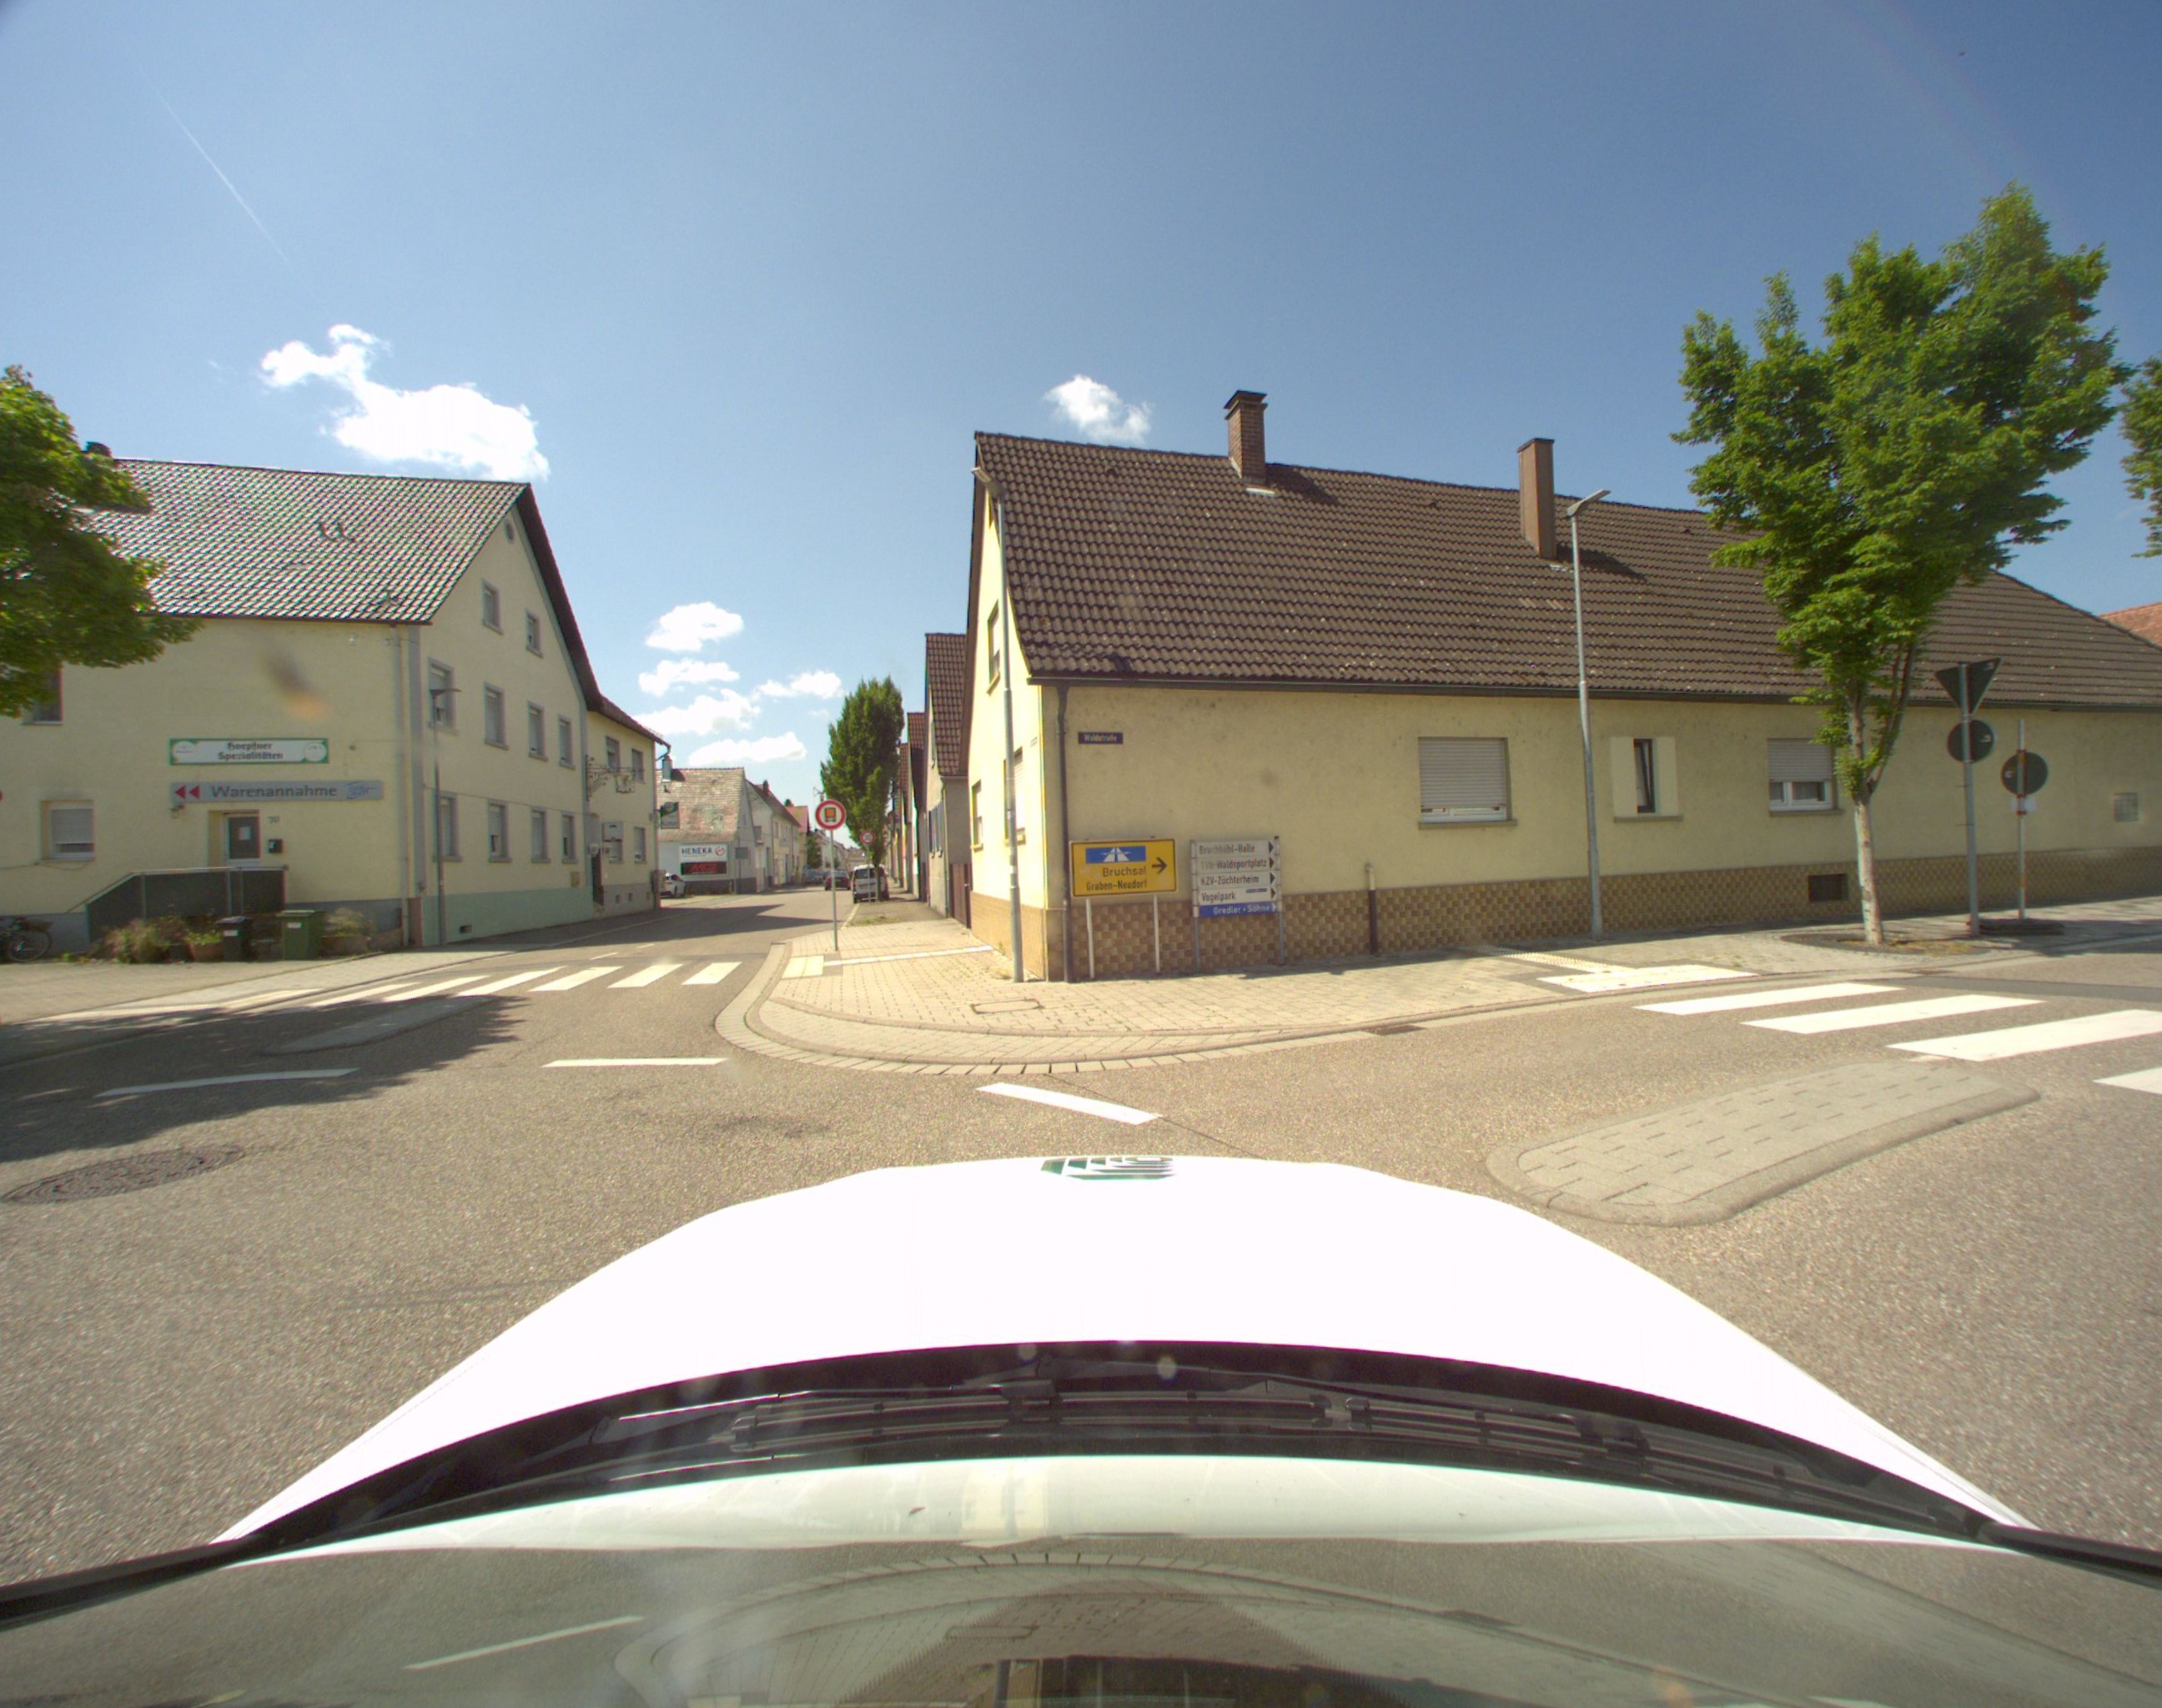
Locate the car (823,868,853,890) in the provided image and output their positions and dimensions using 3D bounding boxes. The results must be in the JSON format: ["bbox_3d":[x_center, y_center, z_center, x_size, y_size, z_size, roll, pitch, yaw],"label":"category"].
[{"bbox_3d":[-18.647,1.908,62.605,1.904,1.564,4.456,-1,0,-13],"label":"car"}]

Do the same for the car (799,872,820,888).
[{"bbox_3d":[-29.236,2.801,87.794,1.812,1.589,3.979,-1,-1,-15],"label":"car"}]

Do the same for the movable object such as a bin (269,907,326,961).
[{"bbox_3d":[-16.996,1.722,17.676,0.600,1.079,0.655,-2,-1,-12],"label":"movable object such as a bin"}]

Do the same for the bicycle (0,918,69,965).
[{"bbox_3d":[-23.238,1.910,17.407,2.169,0.913,0.540,-3,0,-10],"label":"bicycle"}]

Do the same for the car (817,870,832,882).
[{"bbox_3d":[-35.213,3.051,111.962,1.812,1.589,3.979,-1,-1,-15],"label":"car"}]

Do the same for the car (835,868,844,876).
[{"bbox_3d":[-53.240,4.016,179.563,1.812,1.589,3.980,-1,-1,-15],"label":"car"}]

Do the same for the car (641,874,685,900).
[{"bbox_3d":[-27.031,2.076,52.736,1.723,1.556,4.176,0,-1,-16],"label":"car"}]

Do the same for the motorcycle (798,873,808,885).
[{"bbox_3d":[-28.644,2.565,83.954,0.848,1.170,2.456,0,-1,-15],"label":"motorcycle"}]

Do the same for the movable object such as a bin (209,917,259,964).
[{"bbox_3d":[-17.990,1.832,17.305,0.479,0.928,0.545,-2,-1,-12],"label":"movable object such as a bin"}]

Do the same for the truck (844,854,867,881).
[{"bbox_3d":[-36.057,2.183,130.696,3.148,4.251,9.259,0,-1,-13],"label":"truck"}]

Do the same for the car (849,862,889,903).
[{"bbox_3d":[-10.489,1.364,40.092,1.723,1.790,4.121,-3,0,-16],"label":"car"}]
